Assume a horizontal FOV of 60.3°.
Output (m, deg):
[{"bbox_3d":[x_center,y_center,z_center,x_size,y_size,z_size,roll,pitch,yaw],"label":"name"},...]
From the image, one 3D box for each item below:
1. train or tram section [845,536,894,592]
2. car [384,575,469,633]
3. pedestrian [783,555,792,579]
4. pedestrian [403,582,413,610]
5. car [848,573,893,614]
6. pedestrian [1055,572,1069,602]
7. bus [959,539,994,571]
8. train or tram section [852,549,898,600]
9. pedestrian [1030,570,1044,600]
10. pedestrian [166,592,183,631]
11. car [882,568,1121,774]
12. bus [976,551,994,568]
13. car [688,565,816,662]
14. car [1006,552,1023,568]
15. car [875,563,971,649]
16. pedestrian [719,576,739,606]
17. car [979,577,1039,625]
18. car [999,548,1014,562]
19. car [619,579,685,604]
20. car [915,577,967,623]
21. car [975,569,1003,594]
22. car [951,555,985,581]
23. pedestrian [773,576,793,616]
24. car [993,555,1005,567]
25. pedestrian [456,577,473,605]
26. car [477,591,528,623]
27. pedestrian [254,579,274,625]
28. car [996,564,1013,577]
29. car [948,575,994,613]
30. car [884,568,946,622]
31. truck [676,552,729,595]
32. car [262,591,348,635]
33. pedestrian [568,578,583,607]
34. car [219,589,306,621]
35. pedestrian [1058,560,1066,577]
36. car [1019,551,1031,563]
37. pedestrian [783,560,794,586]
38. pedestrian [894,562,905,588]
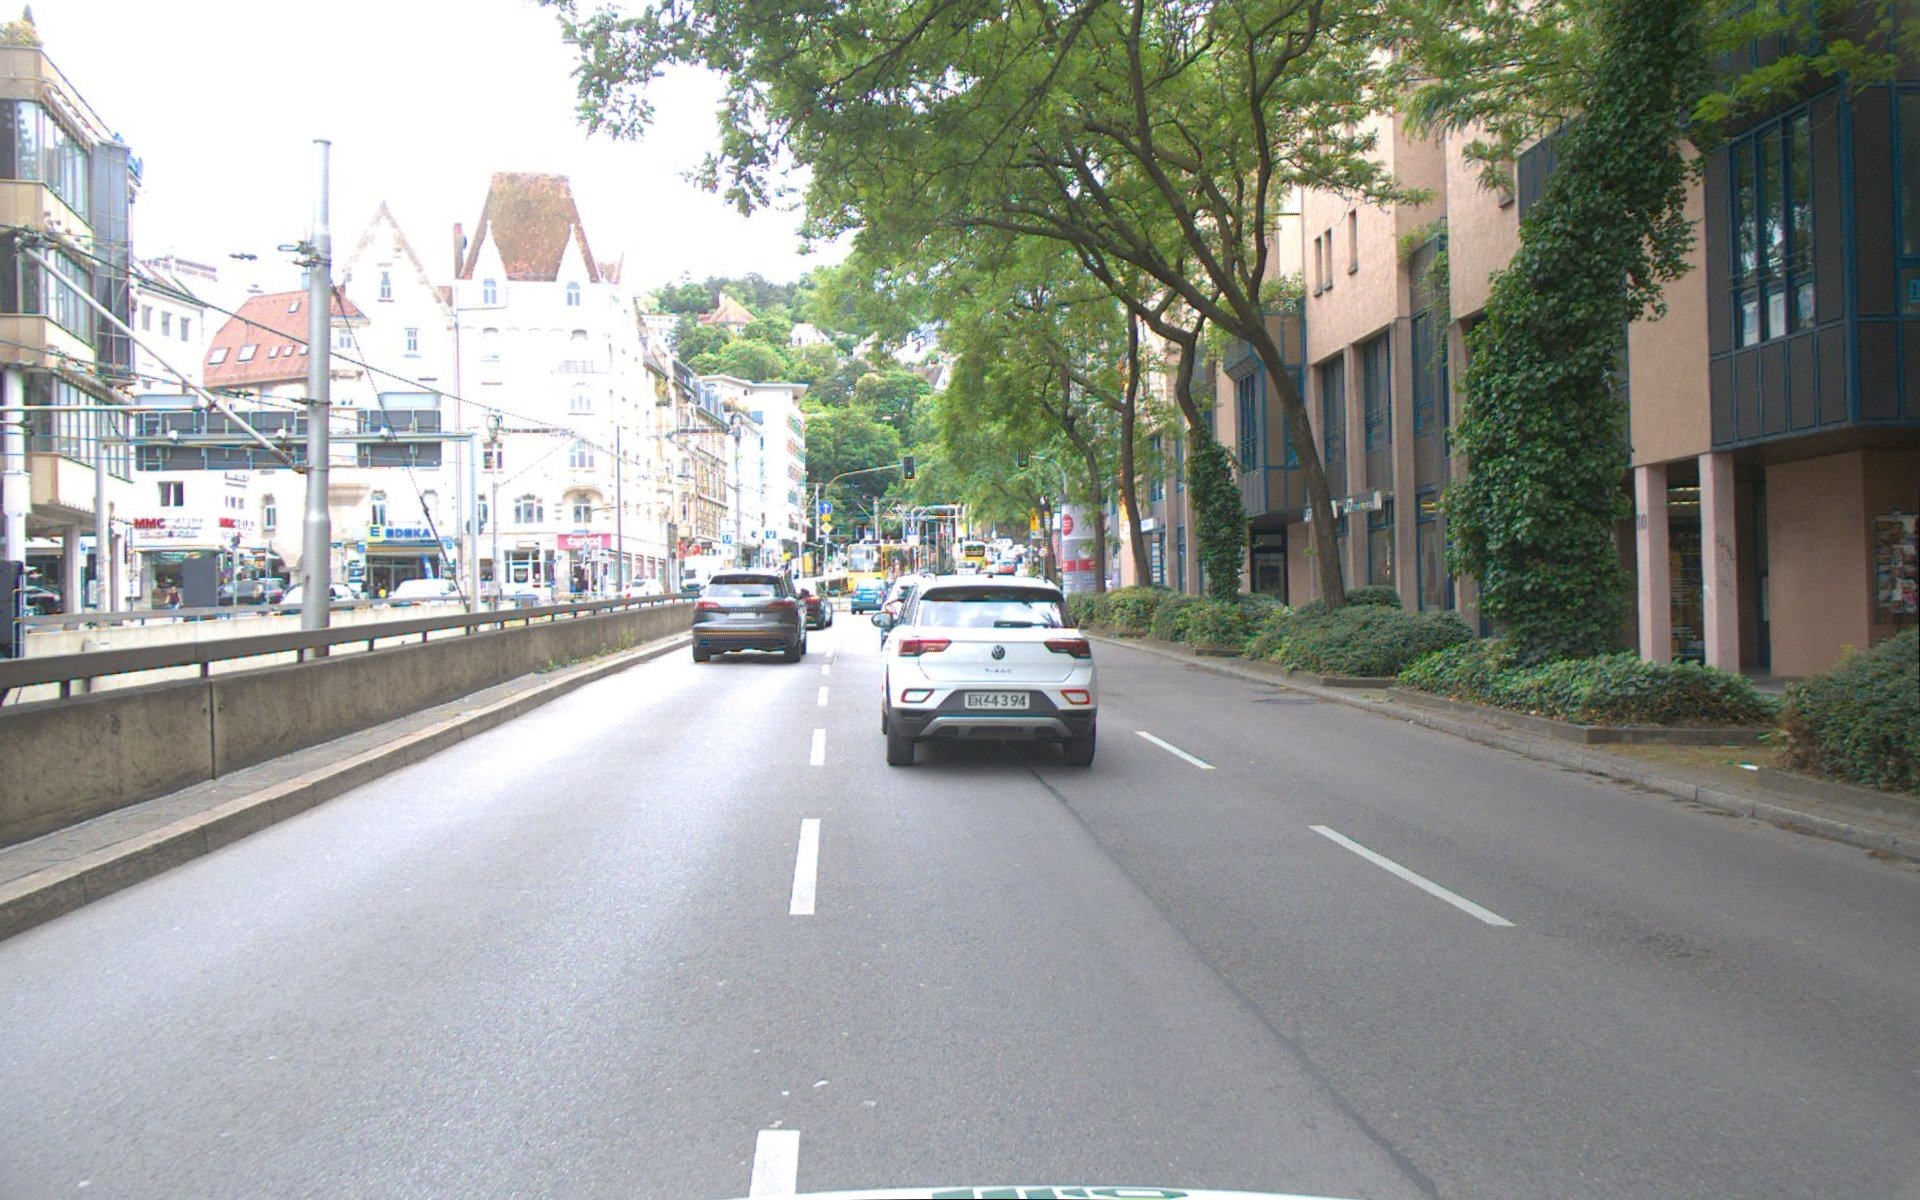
[{"bbox_3d":[-6.199,-2.493,114.551,2.776,3.742,5.755,0,1,3],"label":"train or tram section"},{"bbox_3d":[-18.449,0.120,57.382,1.798,1.874,4.599,3,0,-6],"label":"car"},{"bbox_3d":[-12.652,-2.411,121.222,0.623,1.741,0.689,-1,1,-6],"label":"pedestrian"},{"bbox_3d":[-35.952,-0.281,107.710,0.565,1.811,0.510,-1,0,-11],"label":"pedestrian"},{"bbox_3d":[-3.895,-0.297,71.440,1.847,1.713,4.158,0,0,-4],"label":"car"},{"bbox_3d":[6.468,-0.806,104.679,0.706,1.834,0.834,-3,3,-2],"label":"pedestrian"},{"bbox_3d":[1.818,-4.636,172.928,3.301,3.118,13.329,0,0,2],"label":"bus"},{"bbox_3d":[-6.129,-1.880,120.334,2.776,3.582,5.755,0,1,3],"label":"train or tram section"},{"bbox_3d":[4.925,-0.963,105.996,0.679,1.808,0.689,-5,1,-2],"label":"pedestrian"},{"bbox_3d":[-36.716,0.515,77.323,0.499,1.811,0.577,-1,0,5],"label":"pedestrian"},{"bbox_3d":[0.234,0.547,15.061,1.801,1.611,4.153,0,0,-4],"label":"car"},{"bbox_3d":[3.126,-5.042,207.743,1.953,2.049,3.998,0,0,-2],"label":"bus"},{"bbox_3d":[-3.802,0.234,30.851,1.953,1.664,3.999,0,0,-1],"label":"car"},{"bbox_3d":[6.911,-5.095,210.906,1.953,2.049,3.999,0,0,-1],"label":"car"},{"bbox_3d":[-0.846,0.105,34.999,1.847,1.713,4.158,0,0,-4],"label":"car"},{"bbox_3d":[-13.795,-0.540,98.696,0.859,1.735,0.810,-1,0,32],"label":"pedestrian"},{"bbox_3d":[2.165,0.021,74.365,2.317,2.049,5.146,0,0,-2],"label":"car"},{"bbox_3d":[5.491,-5.270,195.211,1.638,1.588,3.680,0,0,2],"label":"car"},{"bbox_3d":[-19.524,-0.531,105.045,1.715,1.588,4.509,0,0,27],"label":"car"},{"bbox_3d":[-0.910,-0.003,77.014,2.316,2.049,5.147,0,0,-1],"label":"car"},{"bbox_3d":[2.052,-1.319,116.259,1.845,1.713,4.163,0,0,3],"label":"car"},{"bbox_3d":[0.664,-2.637,136.299,2.314,2.049,5.152,0,0,6],"label":"car"},{"bbox_3d":[-7.681,-0.178,71.826,0.748,1.751,0.638,-1,0,2],"label":"pedestrian"},{"bbox_3d":[5.295,-5.304,225.341,1.638,1.588,3.680,0,0,2],"label":"car"},{"bbox_3d":[-30.983,-0.572,103.457,0.765,1.735,0.654,-1,0,8],"label":"pedestrian"},{"bbox_3d":[-23.781,0.350,86.103,1.630,1.527,4.042,-1,1,-2],"label":"car"},{"bbox_3d":[-27.449,0.080,65.261,0.499,1.811,0.577,-1,0,5],"label":"pedestrian"},{"bbox_3d":[4.358,-2.847,160.609,1.549,1.193,3.680,0,0,2],"label":"car"},{"bbox_3d":[0.590,-0.344,91.836,2.317,2.049,5.146,0,0,-2],"label":"car"},{"bbox_3d":[-1.520,-0.174,54.292,1.847,1.713,4.158,0,0,-4],"label":"car"},{"bbox_3d":[-19.285,-1.931,124.237,2.219,3.130,7.379,0,0,5],"label":"truck"},{"bbox_3d":[-24.995,0.468,63.264,1.630,1.527,4.412,-1,1,-2],"label":"car"},{"bbox_3d":[-24.200,-0.458,104.021,0.694,1.811,0.596,-1,0,18],"label":"pedestrian"},{"bbox_3d":[-35.211,0.250,83.572,3.975,1.527,1.658,-1,1,-23],"label":"car"},{"bbox_3d":[10.280,-3.177,166.125,0.626,1.643,0.585,0,0,-18],"label":"pedestrian"},{"bbox_3d":[9.147,-6.029,232.774,1.638,1.588,3.680,0,0,2],"label":"car"},{"bbox_3d":[-11.997,-1.868,115.878,0.613,1.793,0.847,-1,0,4],"label":"pedestrian"},{"bbox_3d":[-4.037,-1.662,110.927,0.671,1.741,0.712,-1,1,2],"label":"pedestrian"}]
